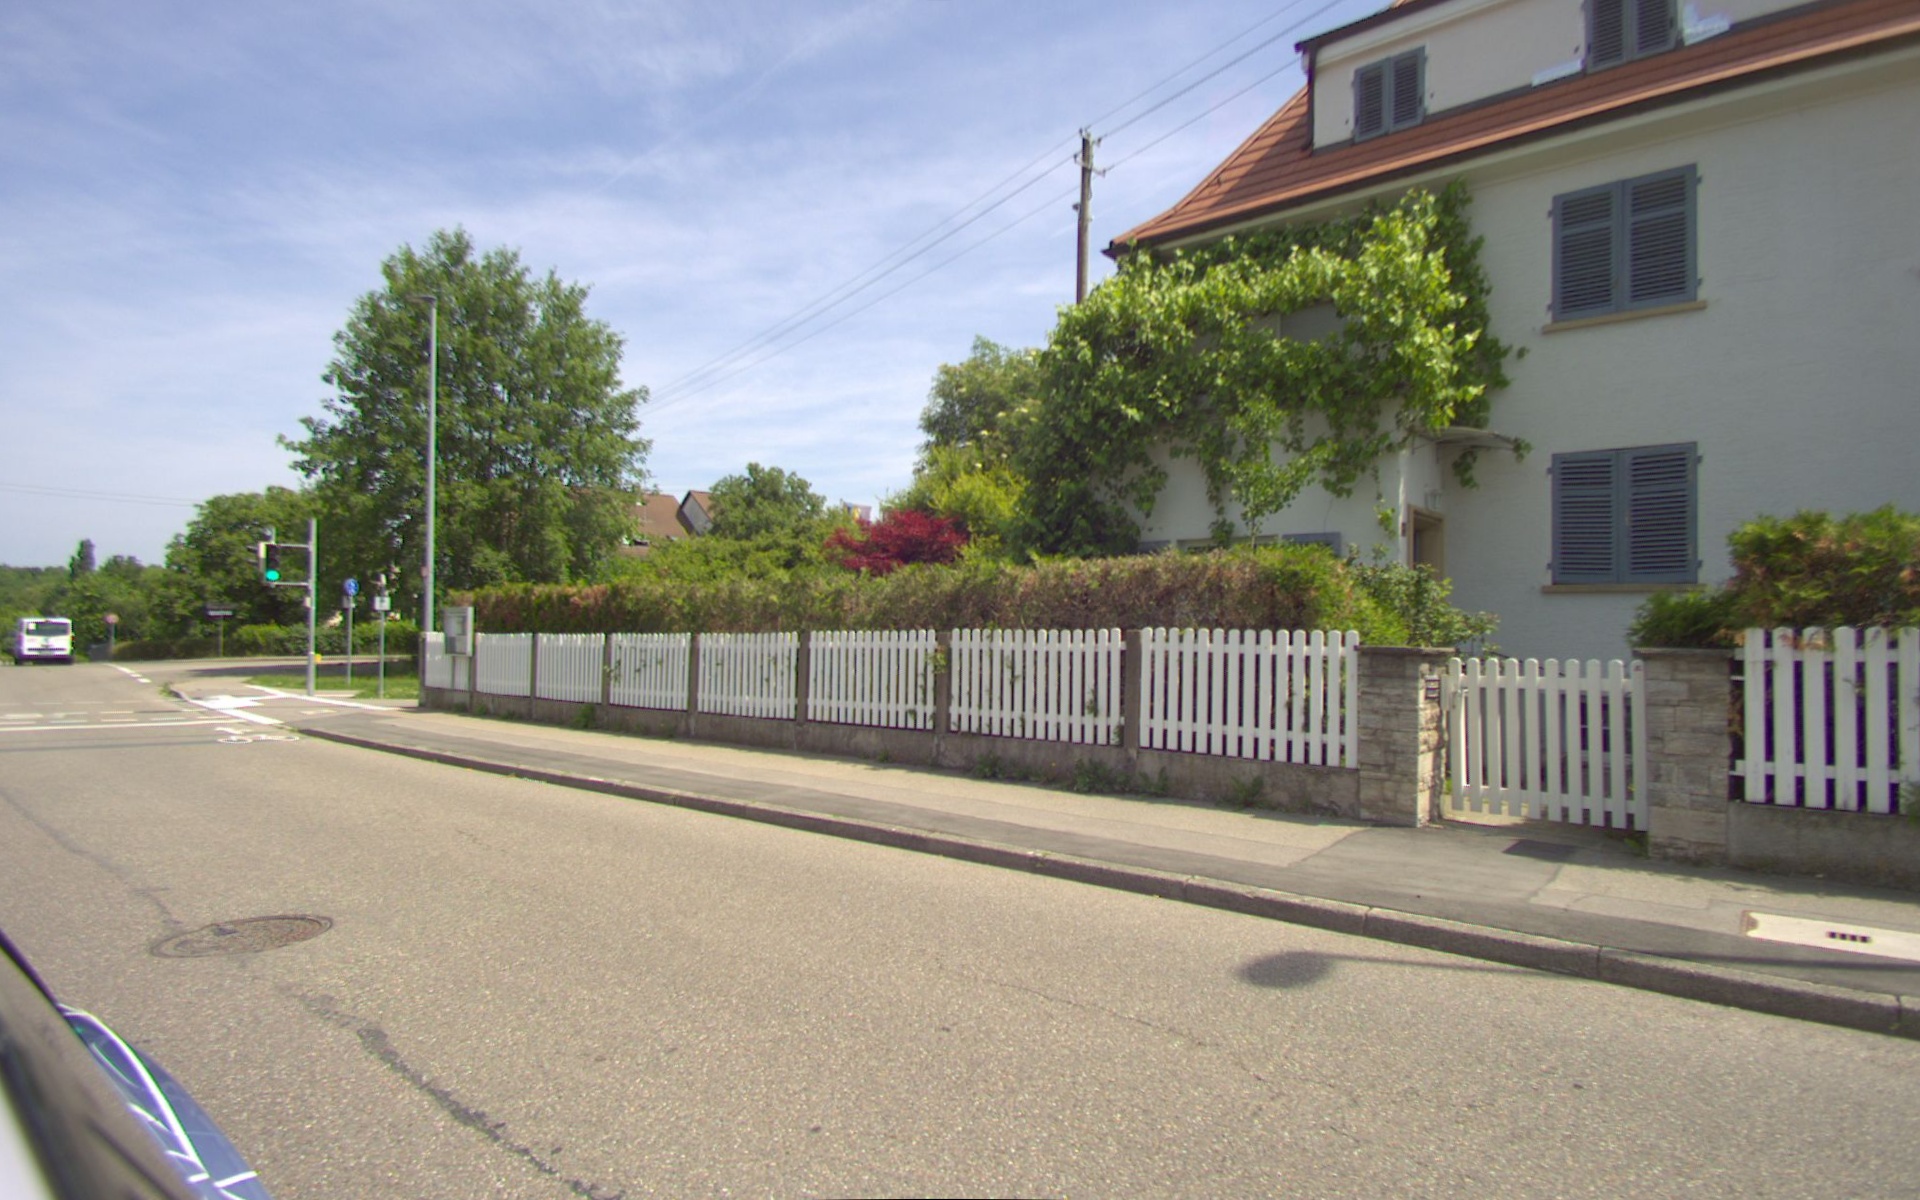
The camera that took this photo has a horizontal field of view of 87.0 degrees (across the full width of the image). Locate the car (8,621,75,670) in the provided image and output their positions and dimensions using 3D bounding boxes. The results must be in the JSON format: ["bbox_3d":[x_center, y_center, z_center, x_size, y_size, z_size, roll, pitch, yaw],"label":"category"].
[{"bbox_3d":[-40.009,1.941,44.041,4.905,1.980,1.858,-1,-3,45],"label":"car"}]
